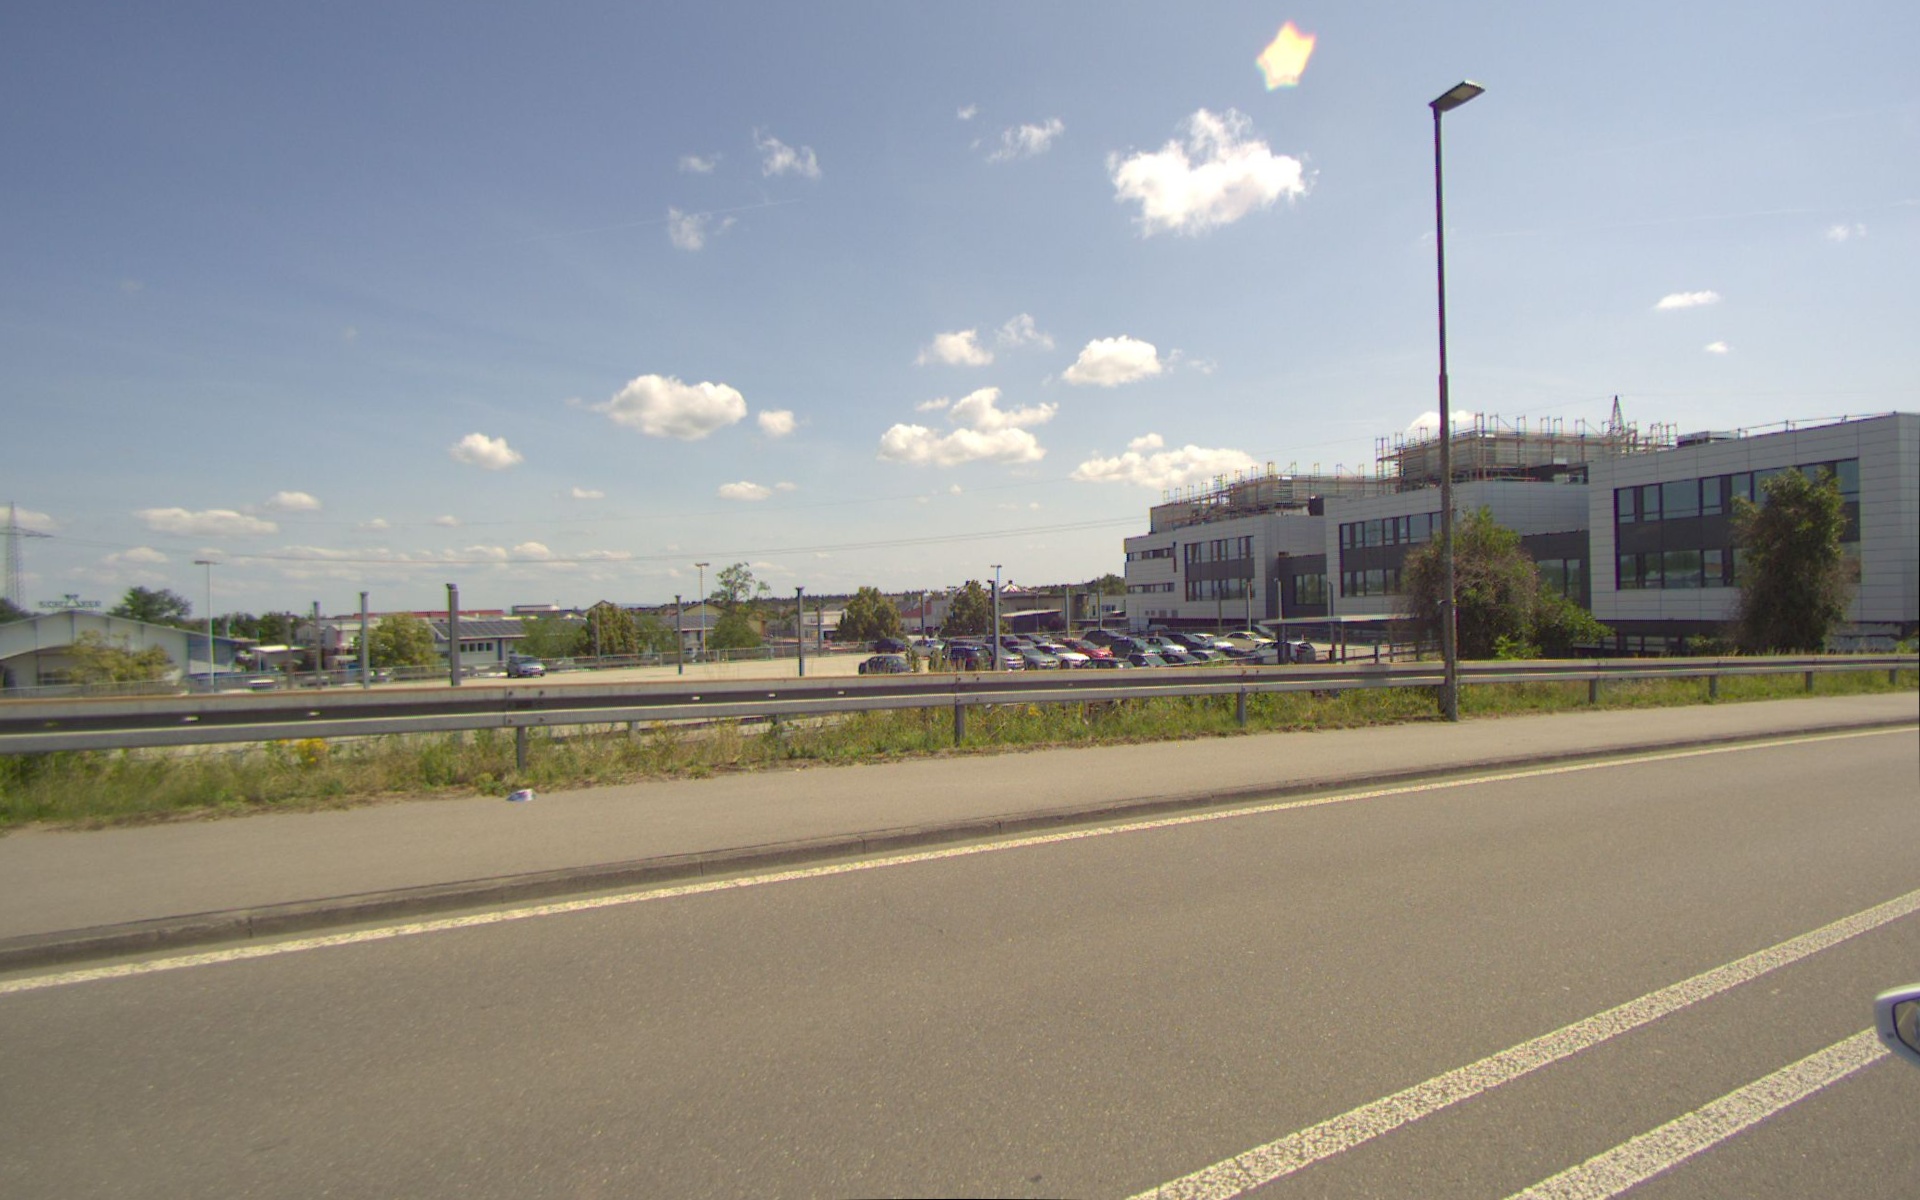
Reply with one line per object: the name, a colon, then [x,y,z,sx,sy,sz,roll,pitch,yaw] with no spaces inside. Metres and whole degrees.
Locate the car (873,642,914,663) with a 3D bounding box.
car: [-6.061,4.783,91.338,1.848,1.865,3.960,1,-2,-36]

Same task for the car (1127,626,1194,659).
car: [13.317,2.800,66.897,1.984,2.040,3.953,-2,1,-41]

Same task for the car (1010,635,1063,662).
car: [6.122,3.915,80.492,1.984,2.040,3.955,1,-4,-40]

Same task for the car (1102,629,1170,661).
car: [11.418,2.884,65.252,1.984,1.929,3.953,-2,1,-41]

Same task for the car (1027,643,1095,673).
car: [6.008,3.446,60.078,1.980,1.706,3.963,1,-3,-34]

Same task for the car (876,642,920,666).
car: [-5.164,4.433,83.173,1.848,1.865,3.960,1,-2,-36]

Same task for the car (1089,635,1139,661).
car: [13.222,4.083,86.516,1.984,2.040,3.953,1,-1,-40]

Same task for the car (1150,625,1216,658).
car: [15.161,2.794,68.330,1.984,2.040,3.953,-2,1,-41]

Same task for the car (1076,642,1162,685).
car: [7.916,3.134,50.200,1.944,1.895,3.954,-2,1,-39]

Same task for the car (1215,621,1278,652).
car: [20.857,2.634,73.253,1.984,2.040,3.953,-2,1,-41]

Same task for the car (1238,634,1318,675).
car: [18.005,3.032,56.989,1.944,2.041,3.954,-2,2,-39]

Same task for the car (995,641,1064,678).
car: [4.005,3.432,58.508,1.980,2.040,3.963,1,-3,-34]

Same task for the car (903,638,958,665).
car: [-2.215,3.835,74.480,1.986,1.861,3.950,2,-5,-43]

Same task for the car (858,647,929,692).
car: [-3.494,3.575,52.534,1.978,2.041,3.964,-3,1,-33]

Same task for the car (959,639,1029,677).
car: [1.912,3.294,57.325,1.979,2.040,3.963,-1,-2,-34]

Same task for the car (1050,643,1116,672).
car: [7.533,3.498,61.776,1.980,1.731,3.963,1,-3,-34]

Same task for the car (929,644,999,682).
car: [0.188,3.478,55.693,1.980,2.040,3.963,1,-3,-34]

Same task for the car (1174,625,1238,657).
car: [17.067,2.789,69.811,1.984,2.040,3.953,-2,1,-41]

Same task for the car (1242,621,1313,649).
car: [25.078,2.726,79.457,1.984,2.040,5.026,-2,1,-41]

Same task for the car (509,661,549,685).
car: [-30.341,5.106,70.700,1.678,1.409,3.772,-2,1,-37]
